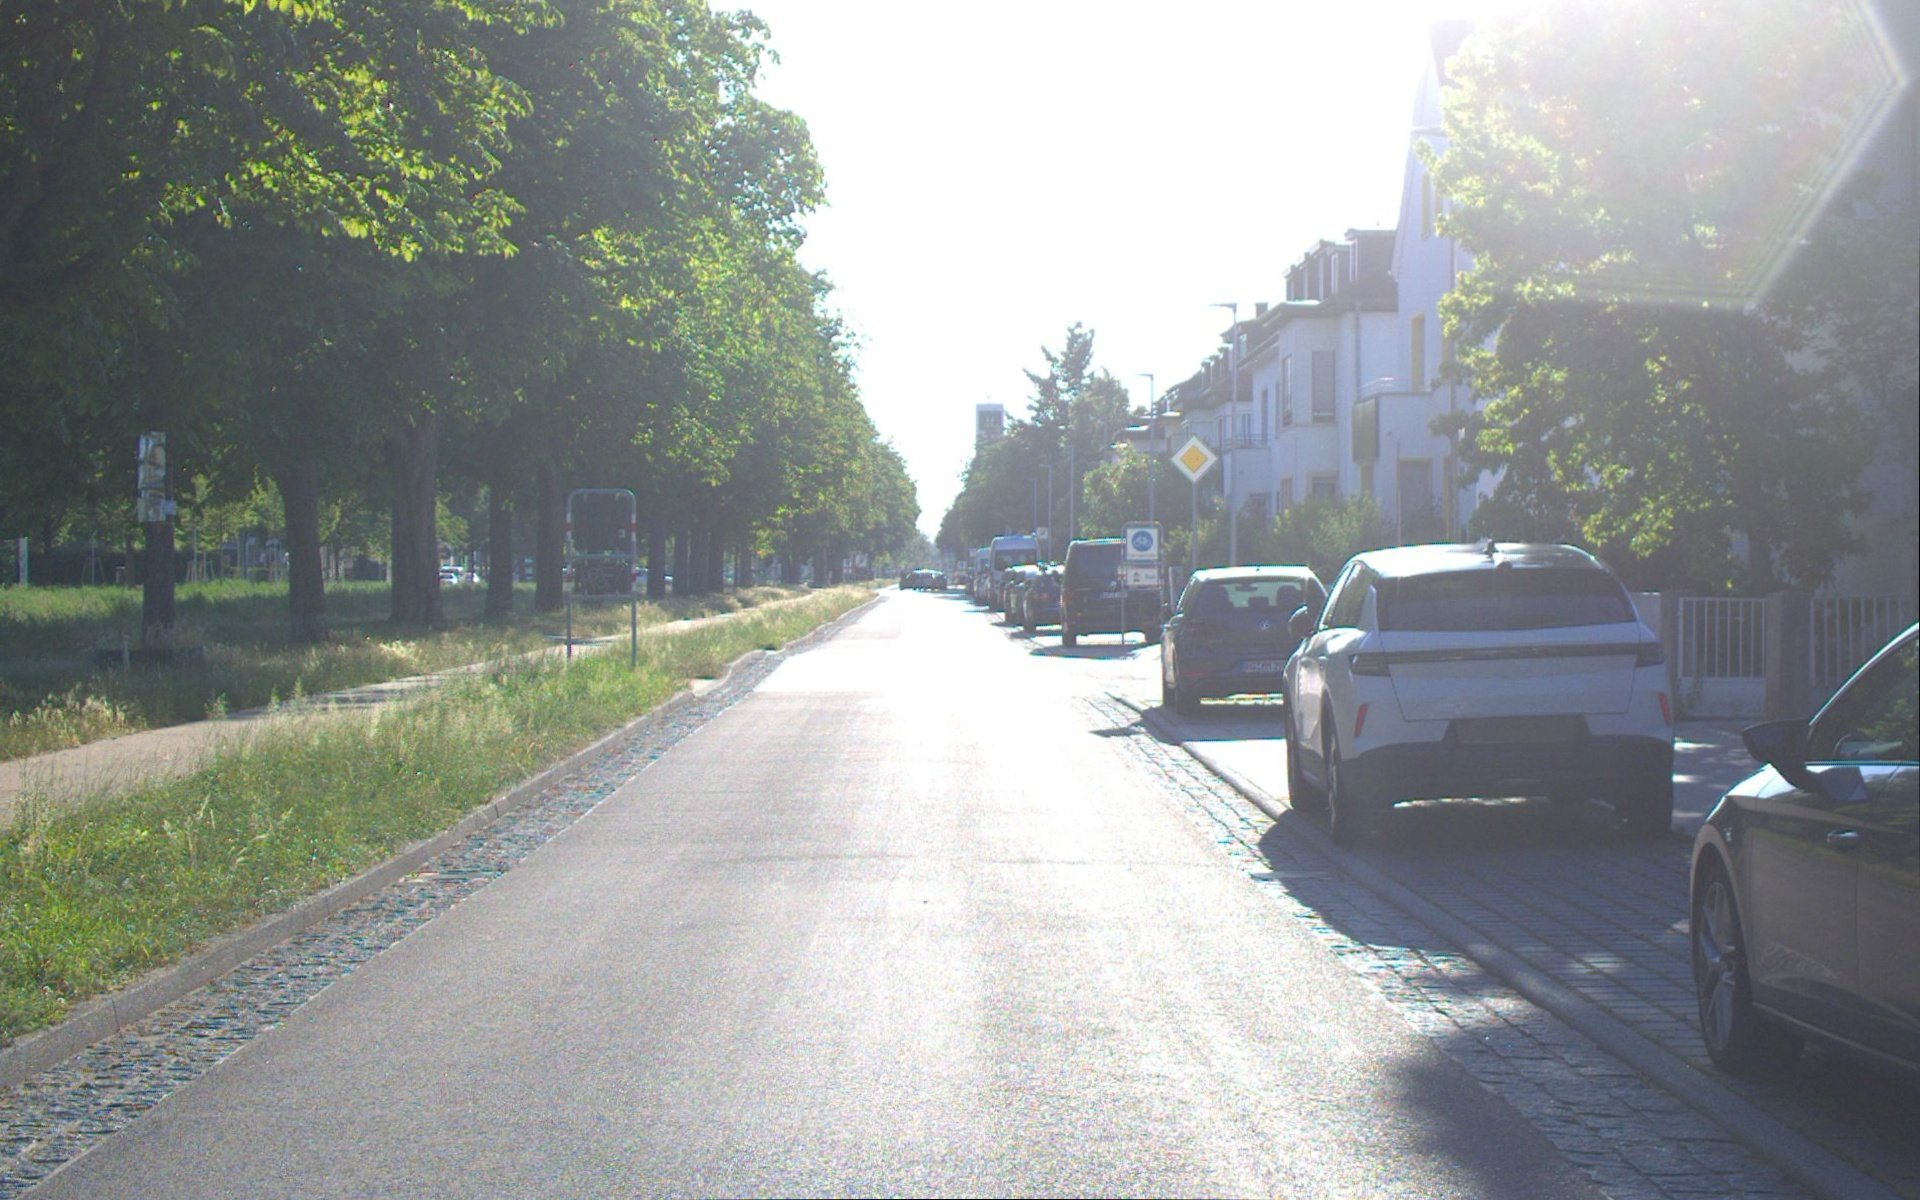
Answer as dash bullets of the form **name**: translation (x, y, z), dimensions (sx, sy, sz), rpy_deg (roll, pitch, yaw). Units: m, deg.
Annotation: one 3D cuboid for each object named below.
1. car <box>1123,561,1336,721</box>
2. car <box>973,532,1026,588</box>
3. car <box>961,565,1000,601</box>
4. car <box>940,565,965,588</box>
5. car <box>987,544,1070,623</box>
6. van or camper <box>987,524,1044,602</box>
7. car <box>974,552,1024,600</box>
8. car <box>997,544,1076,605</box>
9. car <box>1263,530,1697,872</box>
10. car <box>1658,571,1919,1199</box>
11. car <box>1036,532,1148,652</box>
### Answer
- **car**: translation (2.708, 0.373, 35.335), dimensions (1.794, 1.477, 4.124), rpy_deg (-2, 1, 0)
- **car**: translation (1.777, -1.836, 157.395), dimensions (2.126, 2.524, 5.189), rpy_deg (-1, 1, -2)
- **car**: translation (0.915, -0.767, 151.374), dimensions (1.650, 1.525, 3.851), rpy_deg (-1, 1, 1)
- **car**: translation (-0.542, -1.698, 245.139), dimensions (1.650, 1.525, 3.851), rpy_deg (3, 1, 1)
- **car**: translation (1.604, -0.414, 81.859), dimensions (1.794, 1.765, 4.473), rpy_deg (-2, 1, -1)
- **van or camper**: translation (2.027, -1.337, 127.081), dimensions (1.943, 2.768, 5.940), rpy_deg (1, 0, 0)
- **car**: translation (1.366, -0.846, 120.578), dimensions (1.663, 1.587, 4.086), rpy_deg (1, 0, 0)
- **car**: translation (2.064, -0.680, 93.775), dimensions (1.717, 1.568, 4.211), rpy_deg (-2, 0, -4)
- **car**: translation (2.920, 0.484, 20.262), dimensions (1.905, 1.702, 4.575), rpy_deg (-2, 1, 1)
- **car**: translation (3.106, 0.680, 8.580), dimensions (1.794, 1.489, 4.194), rpy_deg (-2, 1, 0)
- **car**: translation (2.466, -0.177, 65.325), dimensions (1.906, 2.124, 4.814), rpy_deg (-2, 1, 1)
